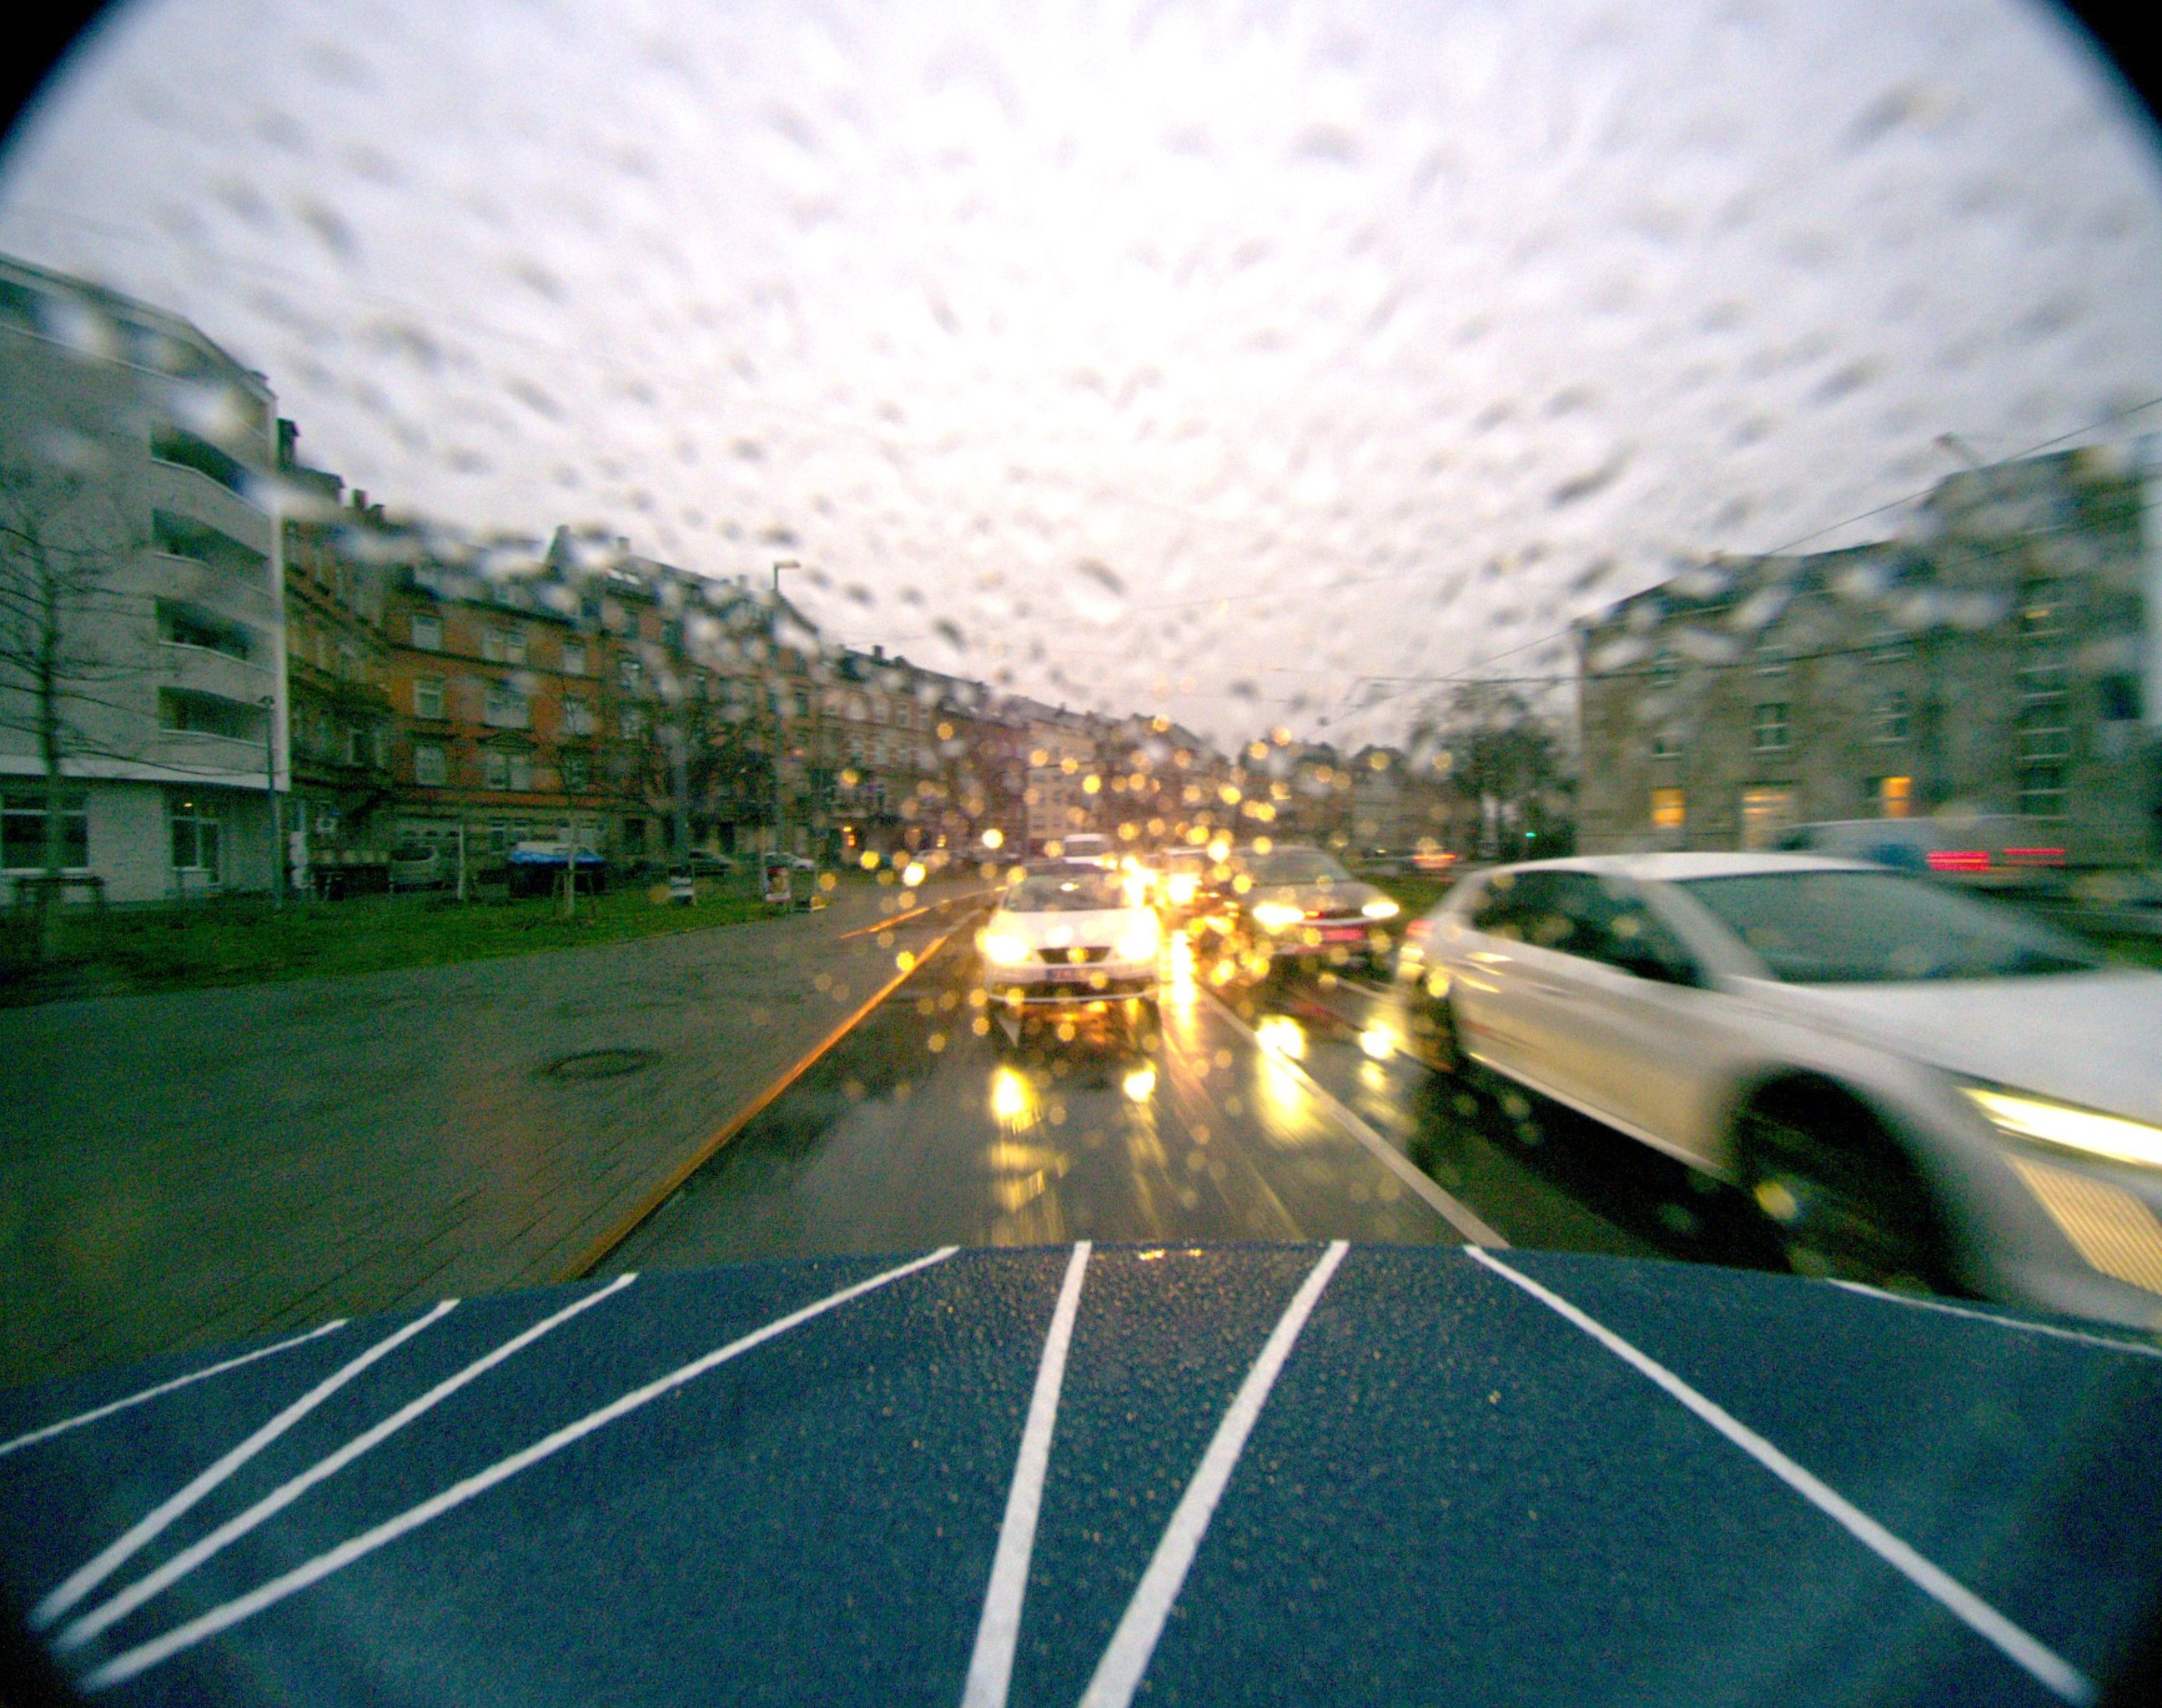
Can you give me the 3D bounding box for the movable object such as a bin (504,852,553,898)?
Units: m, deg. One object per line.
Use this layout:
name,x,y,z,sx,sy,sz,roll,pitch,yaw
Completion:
movable object such as a bin,-19.238,0.713,26.469,1.050,1.566,1.142,0,1,40

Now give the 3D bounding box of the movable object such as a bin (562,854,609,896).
movable object such as a bin,-18.063,0.753,27.714,1.050,1.477,1.142,0,1,40

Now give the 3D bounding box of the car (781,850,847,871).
car,-17.237,0.384,49.060,3.684,1.298,1.521,0,1,4

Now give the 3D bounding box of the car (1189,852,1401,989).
car,2.824,0.779,11.077,1.825,1.561,4.361,-1,1,0

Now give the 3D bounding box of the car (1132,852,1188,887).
car,3.617,0.665,34.327,1.874,1.466,4.175,-1,0,15

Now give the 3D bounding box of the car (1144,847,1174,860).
car,8.775,-0.029,85.074,3.181,1.420,1.429,0,1,13

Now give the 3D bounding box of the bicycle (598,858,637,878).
bicycle,-22.949,0.710,37.637,1.792,0.926,0.446,1,2,11

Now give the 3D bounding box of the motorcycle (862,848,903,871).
motorcycle,-12.536,0.340,48.020,2.352,1.338,0.886,3,3,19

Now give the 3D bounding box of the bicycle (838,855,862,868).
bicycle,-15.822,0.494,52.087,1.790,0.813,0.395,2,2,26

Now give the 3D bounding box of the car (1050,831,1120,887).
car,0.308,0.201,36.654,2.239,2.449,5.674,-1,1,12

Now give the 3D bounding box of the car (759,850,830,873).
car,-17.522,0.453,46.604,3.684,1.298,1.669,0,1,4

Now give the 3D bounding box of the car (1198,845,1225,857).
car,16.250,-0.393,94.287,3.180,1.405,1.383,0,1,15

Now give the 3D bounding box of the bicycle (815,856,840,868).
bicycle,-16.855,0.523,50.518,1.790,0.790,0.447,2,2,29

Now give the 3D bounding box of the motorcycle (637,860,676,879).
motorcycle,-21.701,0.773,38.852,1.793,0.926,0.513,1,2,5

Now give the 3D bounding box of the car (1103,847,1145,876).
car,2.802,0.455,48.598,1.874,1.679,4.175,-1,1,15

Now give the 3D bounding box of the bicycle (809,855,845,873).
bicycle,-15.030,0.594,45.001,1.911,1.013,0.535,0,2,-35

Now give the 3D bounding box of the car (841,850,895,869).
car,-15.140,0.410,54.085,3.297,1.298,1.521,0,1,6

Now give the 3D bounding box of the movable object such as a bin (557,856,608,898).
movable object such as a bin,-17.489,0.774,26.672,1.050,1.424,1.227,0,1,40

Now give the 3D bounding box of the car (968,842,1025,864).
car,-6.881,-0.067,61.868,4.340,1.758,1.782,0,1,5

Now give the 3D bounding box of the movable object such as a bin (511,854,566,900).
movable object such as a bin,-18.198,0.745,25.489,1.050,1.502,1.255,0,1,40

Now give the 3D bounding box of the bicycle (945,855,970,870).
bicycle,-8.358,0.549,51.408,1.790,0.926,0.447,2,2,33

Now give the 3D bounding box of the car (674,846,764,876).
car,-20.057,0.375,42.200,4.152,1.560,1.742,0,1,4

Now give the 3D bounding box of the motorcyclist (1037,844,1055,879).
motorcyclist,-1.853,0.385,40.817,0.885,1.871,0.922,-1,1,2

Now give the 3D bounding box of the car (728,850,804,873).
car,-18.306,0.422,44.250,3.684,1.298,1.742,0,1,4

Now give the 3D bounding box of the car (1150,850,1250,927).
car,2.666,0.705,17.884,1.675,1.590,4.222,-1,1,0

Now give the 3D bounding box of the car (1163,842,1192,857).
car,11.080,-0.508,87.231,3.181,1.615,1.429,0,1,13

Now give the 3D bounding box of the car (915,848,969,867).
car,-10.423,0.232,57.062,3.684,1.391,1.521,0,1,6

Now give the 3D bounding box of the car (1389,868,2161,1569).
car,3.198,0.865,3.462,1.763,1.455,3.915,-1,1,-4

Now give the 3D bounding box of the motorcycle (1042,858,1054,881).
motorcycle,-1.763,0.819,40.860,0.484,1.176,2.409,-1,1,1

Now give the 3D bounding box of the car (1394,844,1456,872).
car,17.682,0.171,39.233,1.643,1.378,4.478,0,1,7

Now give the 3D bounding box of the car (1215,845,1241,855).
car,18.799,-0.513,97.346,3.180,1.276,1.383,0,1,15

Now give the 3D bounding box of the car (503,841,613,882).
car,-29.715,0.366,43.317,1.994,2.176,4.670,0,1,33

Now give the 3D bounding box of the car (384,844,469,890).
car,-29.670,0.548,34.588,1.946,1.931,4.587,-1,1,-28

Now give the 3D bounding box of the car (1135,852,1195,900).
car,2.728,0.684,25.181,1.689,1.422,3.346,-1,1,2

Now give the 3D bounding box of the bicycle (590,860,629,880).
bicycle,-23.041,0.774,37.106,1.792,0.926,0.446,1,2,11

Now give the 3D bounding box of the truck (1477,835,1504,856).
truck,41.407,-0.877,76.789,1.833,2.032,4.008,0,1,38

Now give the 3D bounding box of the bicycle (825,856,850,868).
bicycle,-16.351,0.523,50.998,1.790,0.773,0.447,2,2,29

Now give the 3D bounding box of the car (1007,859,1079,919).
car,-0.986,0.863,20.435,1.723,1.380,3.820,-1,1,-2

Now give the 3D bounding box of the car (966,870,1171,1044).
car,-0.036,0.968,8.895,1.787,1.370,4.223,-2,1,2

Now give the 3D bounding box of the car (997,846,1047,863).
car,-4.971,0.032,64.218,3.958,1.436,1.702,0,1,10

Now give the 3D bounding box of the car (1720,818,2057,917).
car,17.507,0.230,16.956,1.905,1.860,4.959,-1,1,-8

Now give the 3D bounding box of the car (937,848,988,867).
car,-9.238,0.243,59.542,3.684,1.428,1.521,0,1,6

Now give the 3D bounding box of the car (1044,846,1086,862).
car,-1.457,-0.015,68.982,3.609,1.362,1.619,0,1,9
